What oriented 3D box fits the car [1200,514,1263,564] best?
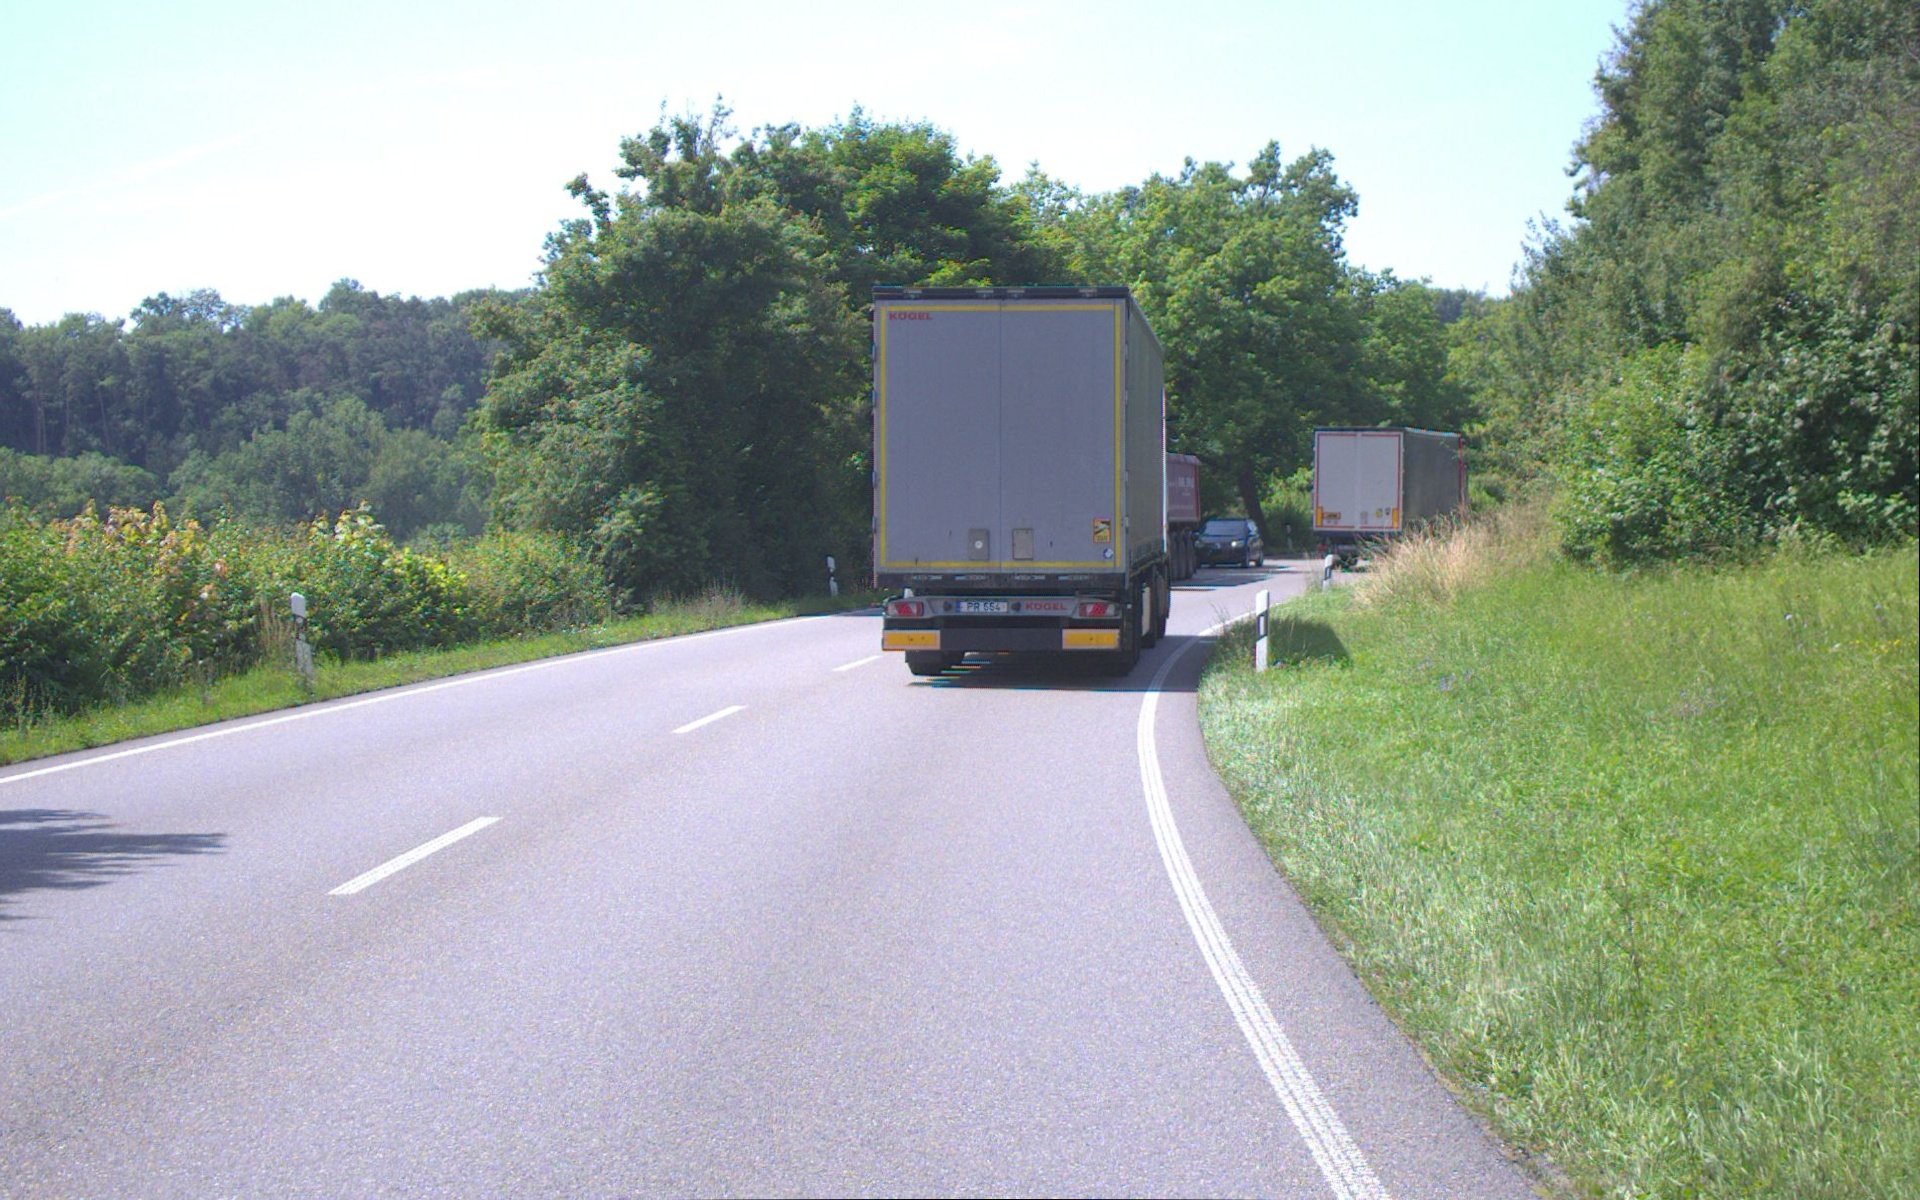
[{"bbox_3d":[8.069,-1.817,101.992,1.430,1.466,3.270,0,1,12],"label":"car"}]

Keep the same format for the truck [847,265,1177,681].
[{"bbox_3d":[0.988,-1.401,41.517,2.802,4.054,15.323,-1,1,5],"label":"truck"}]

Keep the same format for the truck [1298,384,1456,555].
[{"bbox_3d":[12.714,-3.980,103.322,3.106,4.689,16.582,-1,2,12],"label":"truck"}]

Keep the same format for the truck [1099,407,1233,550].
[{"bbox_3d":[5.498,-3.103,89.929,2.553,3.440,12.631,0,1,8],"label":"truck"}]
